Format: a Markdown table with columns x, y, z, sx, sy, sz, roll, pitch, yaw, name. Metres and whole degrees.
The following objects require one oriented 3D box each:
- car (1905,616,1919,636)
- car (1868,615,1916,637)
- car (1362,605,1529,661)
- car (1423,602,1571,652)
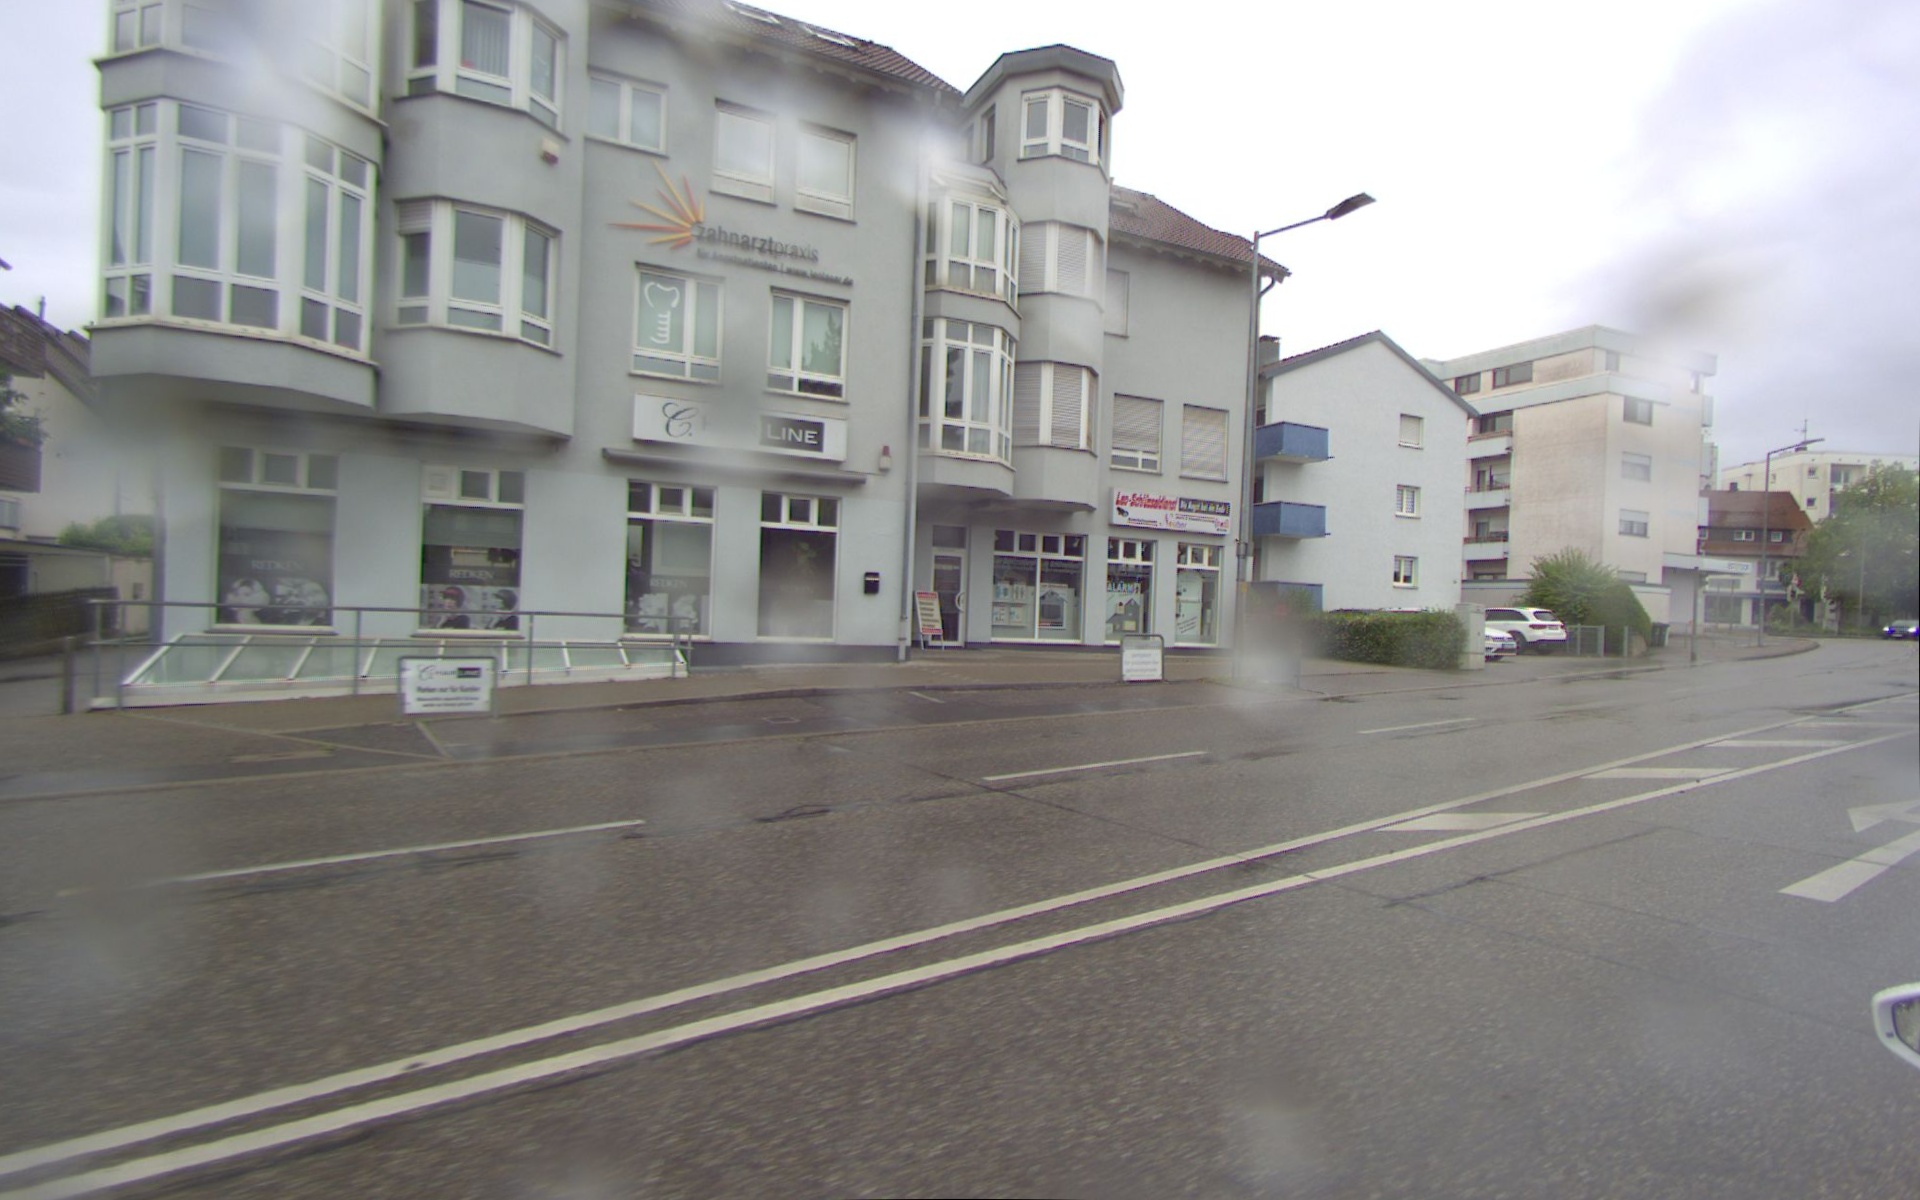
| x | y | z | sx | sy | sz | roll | pitch | yaw | name |
| --- | --- | --- | --- | --- | --- | --- | --- | --- | --- |
| 70.239 | 1.901 | 72.936 | 3.983 | 1.405 | 1.702 | 1 | 1 | -37 | car |
| 64.215 | 1.771 | 69.167 | 3.795 | 1.439 | 1.766 | 1 | 1 | -37 | car |
| 14.521 | 0.947 | 30.270 | 1.882 | 1.493 | 4.199 | 1 | 0 | -30 | car |
| 19.336 | 0.926 | 36.391 | 1.913 | 1.658 | 4.436 | 1 | 0 | -26 | car |
